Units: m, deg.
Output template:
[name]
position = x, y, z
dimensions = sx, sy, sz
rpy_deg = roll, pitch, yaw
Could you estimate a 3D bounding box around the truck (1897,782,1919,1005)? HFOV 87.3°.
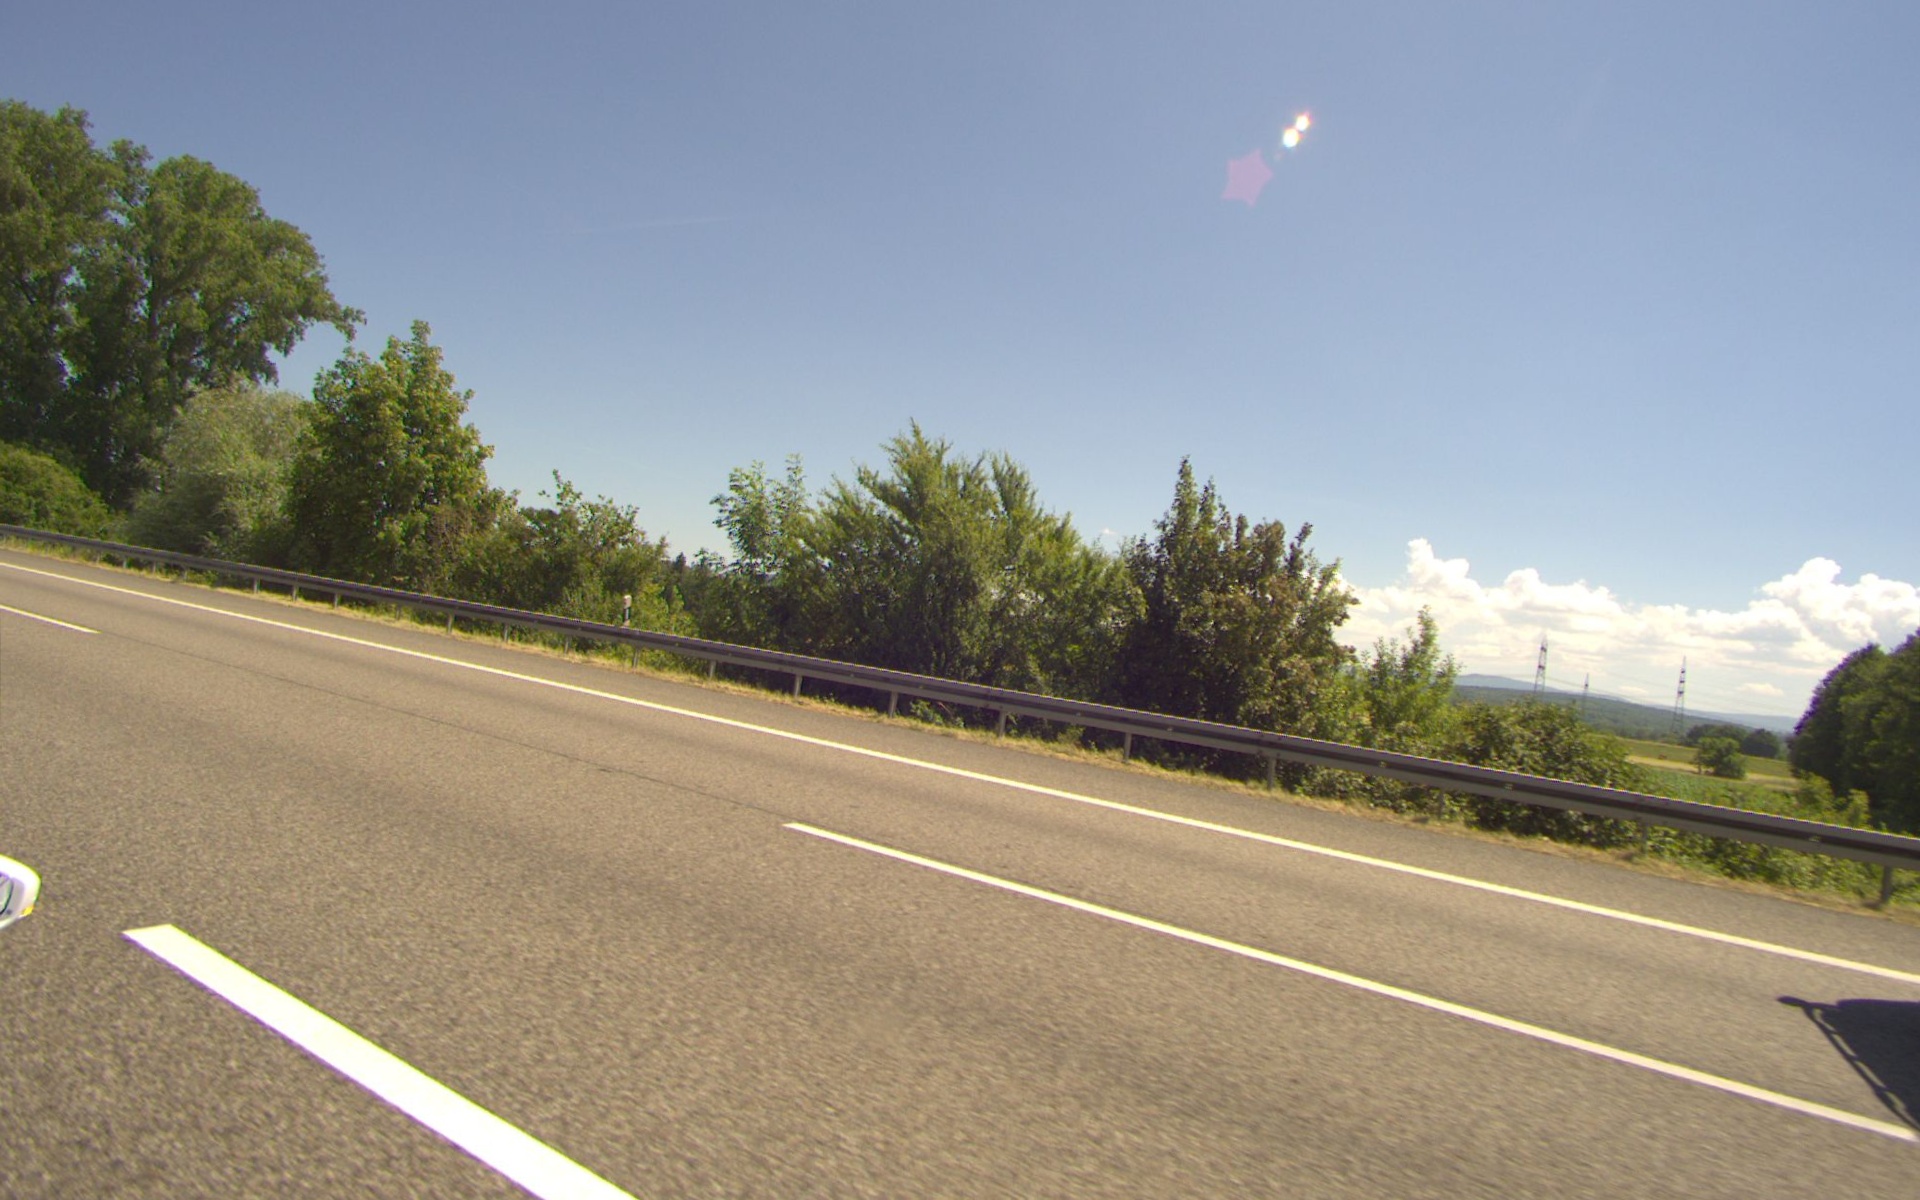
[truck]
position = 7.998, 0.379, 3.979
dimensions = 5.479, 4.524, 2.540
rpy_deg = 6, -1, 31
